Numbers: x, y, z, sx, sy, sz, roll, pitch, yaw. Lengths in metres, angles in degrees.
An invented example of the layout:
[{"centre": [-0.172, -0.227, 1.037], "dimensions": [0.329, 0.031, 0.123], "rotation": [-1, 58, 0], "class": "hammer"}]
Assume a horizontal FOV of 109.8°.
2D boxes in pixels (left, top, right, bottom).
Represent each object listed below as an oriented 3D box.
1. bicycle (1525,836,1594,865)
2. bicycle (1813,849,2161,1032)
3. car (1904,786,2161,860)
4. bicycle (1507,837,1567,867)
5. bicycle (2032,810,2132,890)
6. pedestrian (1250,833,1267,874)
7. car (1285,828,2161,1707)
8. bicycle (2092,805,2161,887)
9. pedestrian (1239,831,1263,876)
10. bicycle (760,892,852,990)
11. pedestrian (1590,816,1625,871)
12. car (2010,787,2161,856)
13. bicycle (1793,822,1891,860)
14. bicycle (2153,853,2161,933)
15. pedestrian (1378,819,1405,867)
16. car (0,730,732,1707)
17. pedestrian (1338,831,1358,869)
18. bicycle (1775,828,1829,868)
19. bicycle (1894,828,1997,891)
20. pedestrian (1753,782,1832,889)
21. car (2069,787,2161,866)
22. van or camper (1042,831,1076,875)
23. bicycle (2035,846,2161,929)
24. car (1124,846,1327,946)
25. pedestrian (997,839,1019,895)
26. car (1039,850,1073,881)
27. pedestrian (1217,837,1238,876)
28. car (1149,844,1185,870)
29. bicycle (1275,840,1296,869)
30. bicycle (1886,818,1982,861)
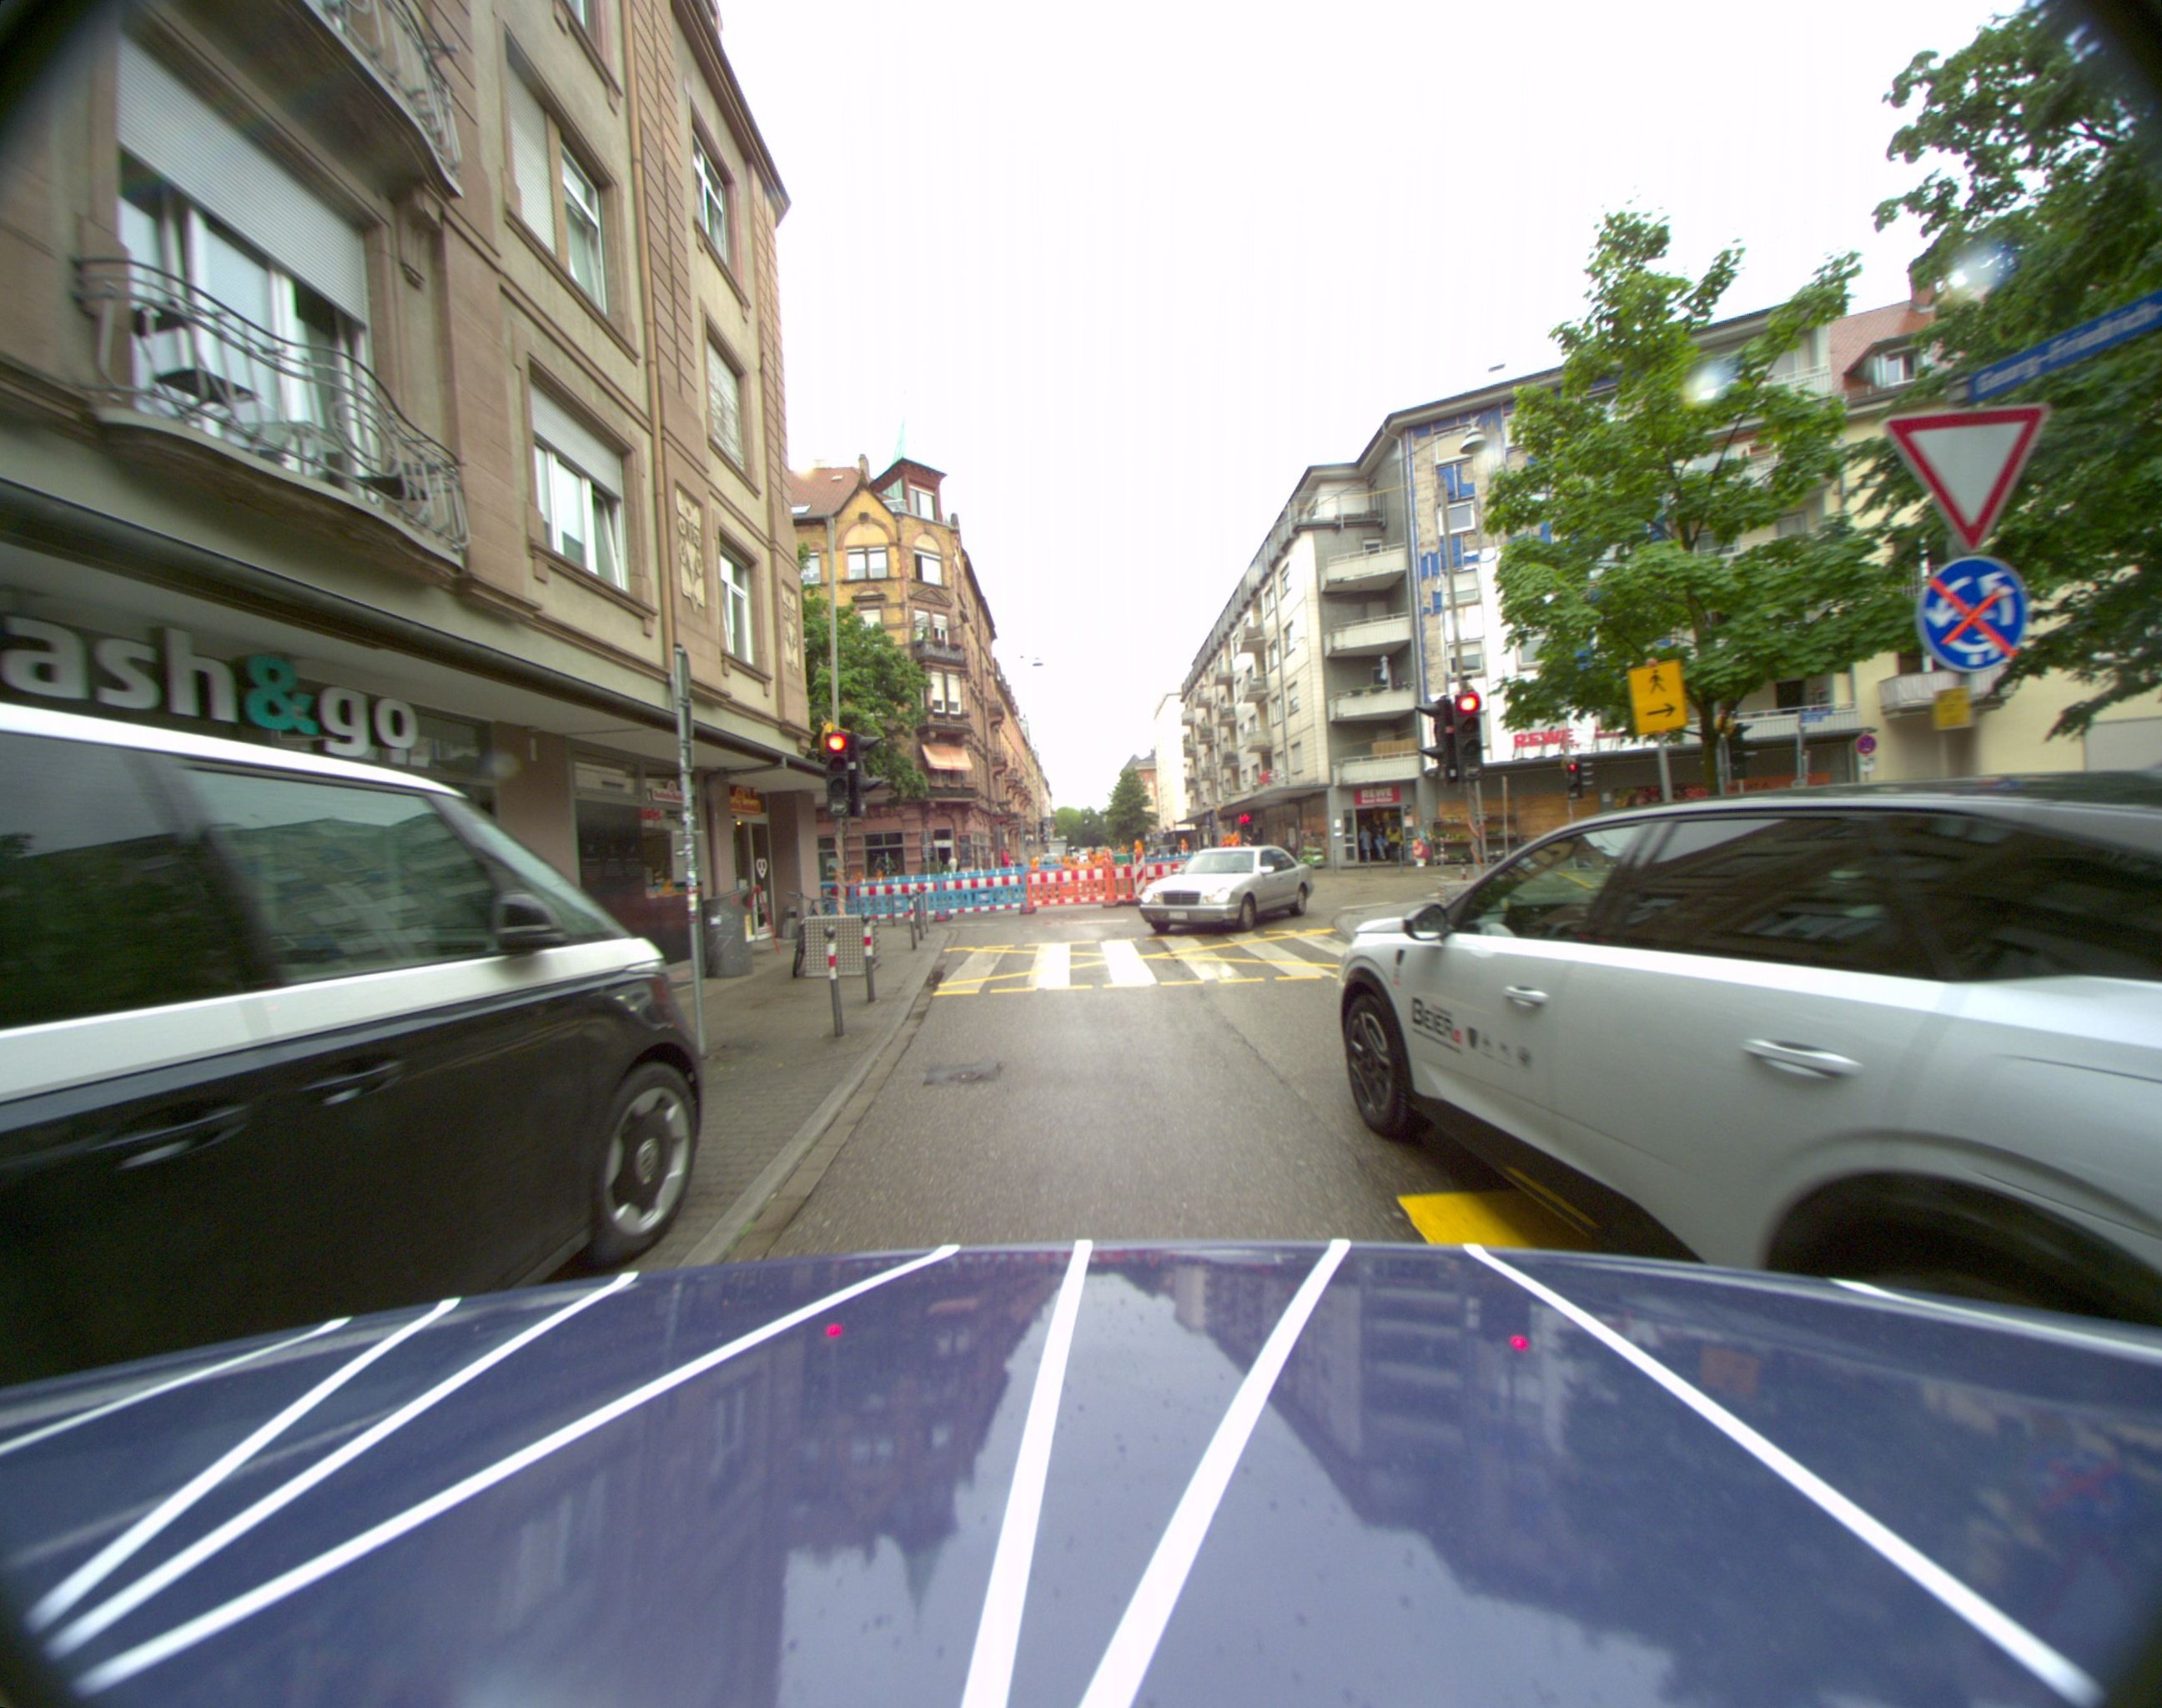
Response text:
[{"centre": [17.084, -0.127, 27.156], "dimensions": [0.590, 0.966, 1.996], "rotation": [-4, 2, -35], "class": "bicycle"}, {"centre": [6.960, 0.572, 5.705], "dimensions": [0.777, 1.137, 1.927], "rotation": [-4, 1, -28], "class": "bicycle"}, {"centre": [25.231, -0.738, 20.028], "dimensions": [1.999, 1.671, 4.456], "rotation": [-4, 0, -5], "class": "car"}, {"centre": [16.209, -0.073, 27.038], "dimensions": [0.569, 0.965, 1.688], "rotation": [-4, 0, -35], "class": "bicycle"}, {"centre": [17.152, -0.062, 13.072], "dimensions": [0.588, 1.268, 2.008], "rotation": [-3, -1, 40], "class": "bicycle"}, {"centre": [8.189, -0.043, 35.110], "dimensions": [0.604, 1.837, 0.770], "rotation": [-4, 1, 8], "class": "pedestrian"}, {"centre": [2.346, 0.768, 2.517], "dimensions": [1.863, 1.650, 5.007], "rotation": [-1, 0, -1], "class": "car"}, {"centre": [17.537, -0.133, 12.607], "dimensions": [0.474, 1.268, 1.870], "rotation": [-3, -1, 40], "class": "bicycle"}, {"centre": [7.401, -0.013, 33.138], "dimensions": [0.717, 1.886, 0.606], "rotation": [-3, 2, 35], "class": "pedestrian"}, {"centre": [-3.798, 1.156, 10.668], "dimensions": [0.625, 1.121, 1.937], "rotation": [-3, 0, -4], "class": "bicycle"}, {"centre": [16.125, -0.329, 23.293], "dimensions": [0.797, 1.606, 0.606], "rotation": [-3, 2, 35], "class": "pedestrian"}, {"centre": [27.548, -0.862, 19.386], "dimensions": [1.999, 1.661, 4.457], "rotation": [-4, 0, -5], "class": "car"}, {"centre": [22.599, -0.386, 22.609], "dimensions": [1.998, 0.966, 0.590], "rotation": [-4, 2, 16], "class": "bicycle"}, {"centre": [11.587, 0.352, 7.550], "dimensions": [1.394, 0.810, 0.405], "rotation": [-4, 0, -4], "class": "bicycle"}, {"centre": [12.538, -0.436, 30.689], "dimensions": [0.692, 1.758, 0.865], "rotation": [-3, 10, 35], "class": "pedestrian"}, {"centre": [-2.637, 0.801, 1.097], "dimensions": [1.999, 1.928, 5.228], "rotation": [-2, 1, -3], "class": "car"}, {"centre": [11.254, -0.176, 32.047], "dimensions": [0.544, 1.575, 0.695], "rotation": [-3, 2, 35], "class": "pedestrian"}, {"centre": [19.882, -0.186, 20.988], "dimensions": [0.588, 0.966, 2.004], "rotation": [-3, 2, 29], "class": "bicycle"}, {"centre": [15.587, 0.095, 13.766], "dimensions": [0.864, 1.038, 2.418], "rotation": [-3, -1, 40], "class": "bicycle"}, {"centre": [13.967, -0.348, 14.944], "dimensions": [0.942, 2.002, 0.866], "rotation": [-3, 1, 35], "class": "pedestrian"}, {"centre": [24.540, -0.664, 15.863], "dimensions": [4.377, 1.630, 1.846], "rotation": [-3, 0, 25], "class": "car"}, {"centre": [-1.820, -0.060, 63.358], "dimensions": [2.411, 3.308, 7.072], "rotation": [-4, 0, -1], "class": "van or camper"}, {"centre": [11.573, 0.361, 8.485], "dimensions": [1.394, 0.810, 0.405], "rotation": [-4, 0, -4], "class": "bicycle"}, {"centre": [2.919, 0.656, 14.255], "dimensions": [1.856, 1.390, 4.989], "rotation": [-3, 1, 34], "class": "car"}, {"centre": [-3.497, 0.623, 36.227], "dimensions": [0.696, 2.594, 0.539], "rotation": [-5, 2, -32], "class": "pedestrian"}, {"centre": [-1.598, 0.716, 47.864], "dimensions": [1.902, 1.779, 3.998], "rotation": [-4, 0, -4], "class": "car"}, {"centre": [7.042, 0.122, 36.488], "dimensions": [0.862, 1.837, 0.770], "rotation": [-4, 1, 8], "class": "pedestrian"}, {"centre": [6.338, 0.207, 56.372], "dimensions": [1.902, 1.779, 3.998], "rotation": [-4, 0, -4], "class": "car"}, {"centre": [10.186, 0.033, 37.861], "dimensions": [0.450, 1.366, 2.024], "rotation": [-6, 0, 2], "class": "bicycle"}, {"centre": [22.408, -0.388, 19.970], "dimensions": [2.000, 0.966, 0.589], "rotation": [-5, 2, -5], "class": "bicycle"}]
